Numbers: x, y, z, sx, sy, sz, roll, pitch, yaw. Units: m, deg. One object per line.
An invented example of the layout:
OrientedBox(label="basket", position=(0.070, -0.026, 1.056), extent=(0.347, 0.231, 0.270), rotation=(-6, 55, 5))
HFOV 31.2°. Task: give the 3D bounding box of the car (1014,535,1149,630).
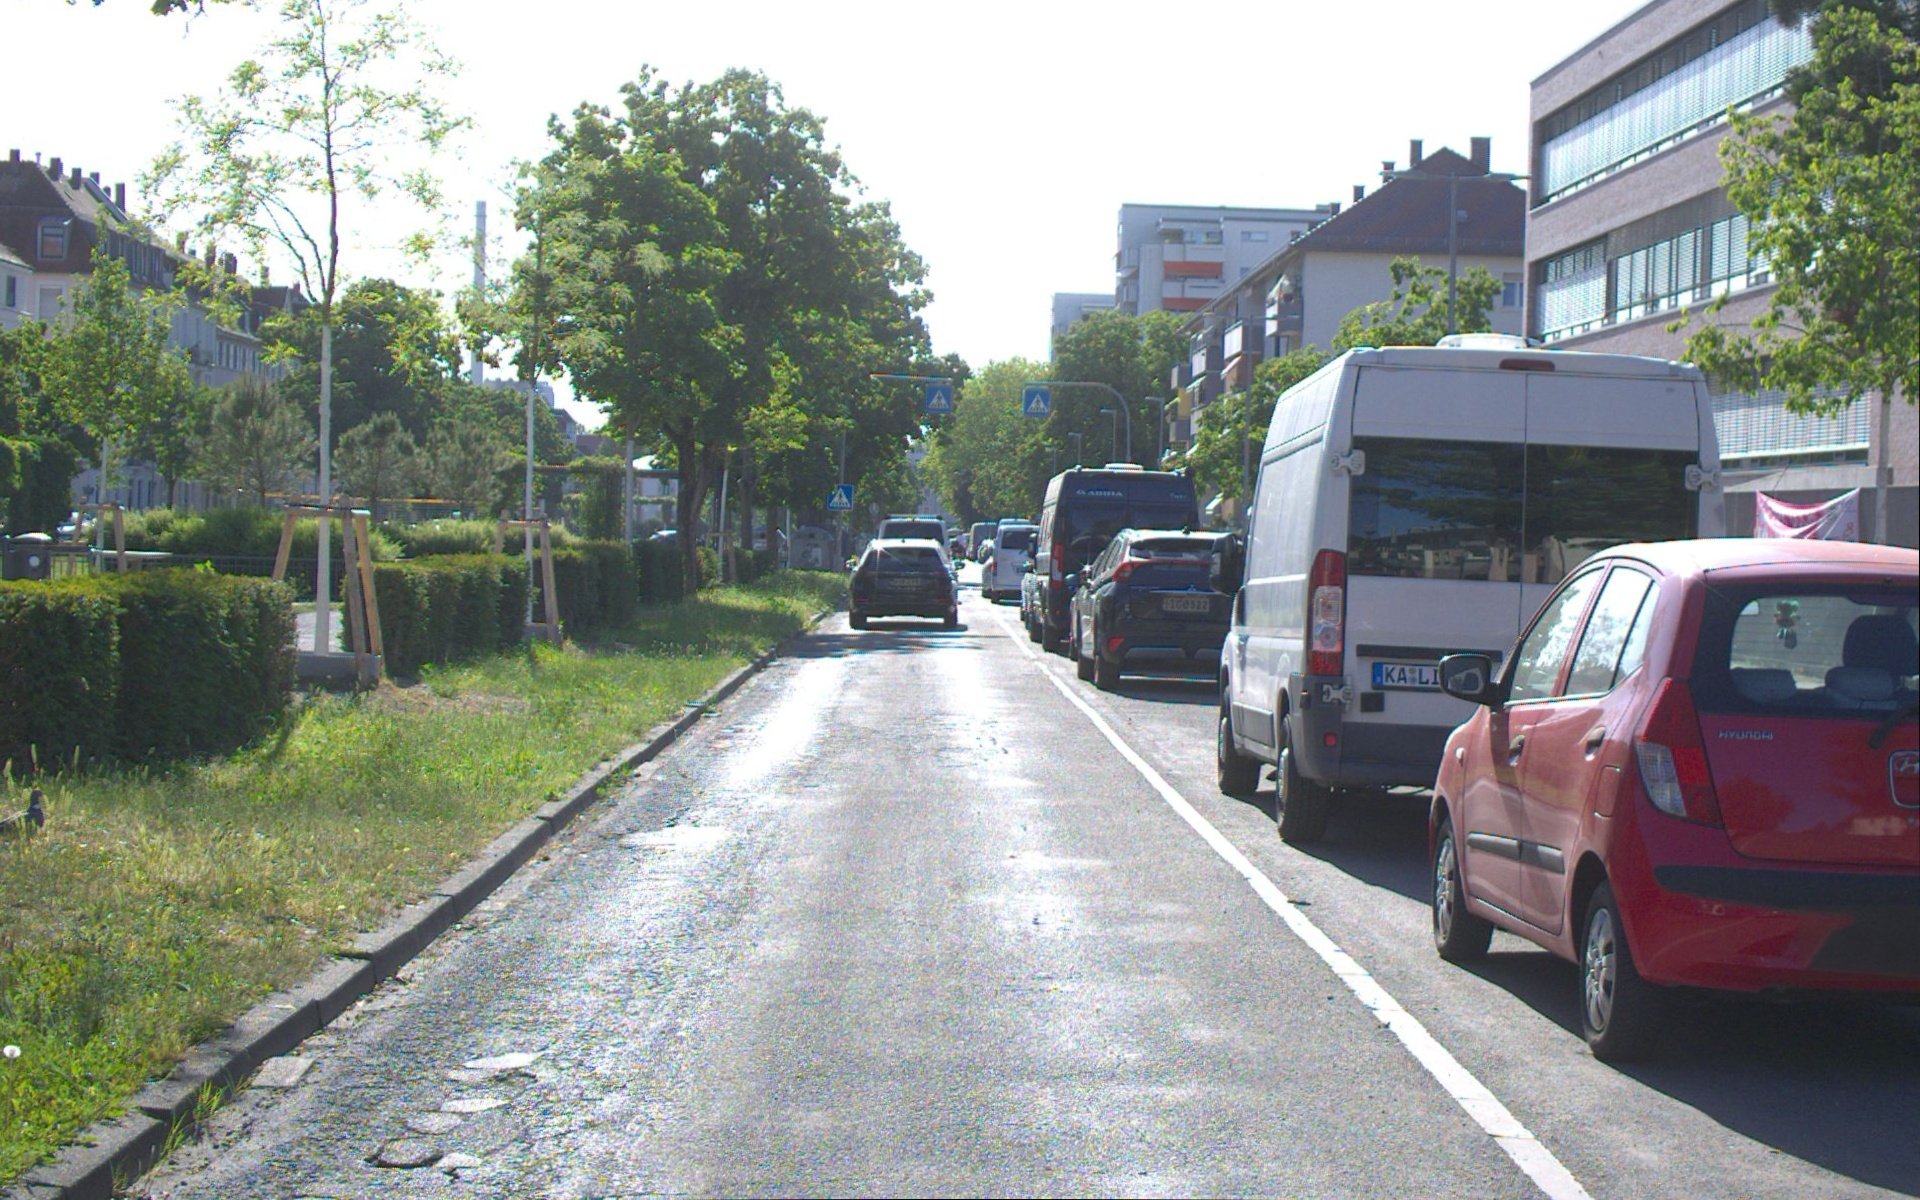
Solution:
OrientedBox(label="car", position=(1.922, -0.315, 55.717), extent=(1.993, 1.415, 4.636), rotation=(1, 1, 0))

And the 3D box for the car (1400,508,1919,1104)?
OrientedBox(label="car", position=(2.568, 0.525, 11.093), extent=(1.619, 1.583, 3.592), rotation=(2, 1, -3))

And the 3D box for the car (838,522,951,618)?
OrientedBox(label="car", position=(-1.071, -0.537, 57.855), extent=(1.794, 1.505, 4.000), rotation=(2, 1, 0))

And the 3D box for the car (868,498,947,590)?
OrientedBox(label="car", position=(-1.238, -1.356, 82.800), extent=(1.794, 2.115, 4.000), rotation=(2, 1, 0))

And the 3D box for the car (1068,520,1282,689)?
OrientedBox(label="car", position=(2.212, -0.002, 36.521), extent=(1.846, 1.634, 4.504), rotation=(1, 1, -1))

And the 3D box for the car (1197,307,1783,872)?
OrientedBox(label="car", position=(2.675, -0.102, 18.866), extent=(2.241, 2.565, 5.433), rotation=(2, 1, 0))

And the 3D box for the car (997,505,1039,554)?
OrientedBox(label="car", position=(3.045, -3.692, 180.763), extent=(1.993, 2.422, 4.500), rotation=(4, 1, 0))

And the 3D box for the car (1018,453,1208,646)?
OrientedBox(label="car", position=(2.077, -0.737, 48.768), extent=(2.115, 2.507, 6.533), rotation=(1, 1, -2))

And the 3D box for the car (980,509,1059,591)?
OrientedBox(label="car", position=(1.445, -1.216, 82.337), extent=(1.794, 1.848, 4.413), rotation=(2, 1, 1))
